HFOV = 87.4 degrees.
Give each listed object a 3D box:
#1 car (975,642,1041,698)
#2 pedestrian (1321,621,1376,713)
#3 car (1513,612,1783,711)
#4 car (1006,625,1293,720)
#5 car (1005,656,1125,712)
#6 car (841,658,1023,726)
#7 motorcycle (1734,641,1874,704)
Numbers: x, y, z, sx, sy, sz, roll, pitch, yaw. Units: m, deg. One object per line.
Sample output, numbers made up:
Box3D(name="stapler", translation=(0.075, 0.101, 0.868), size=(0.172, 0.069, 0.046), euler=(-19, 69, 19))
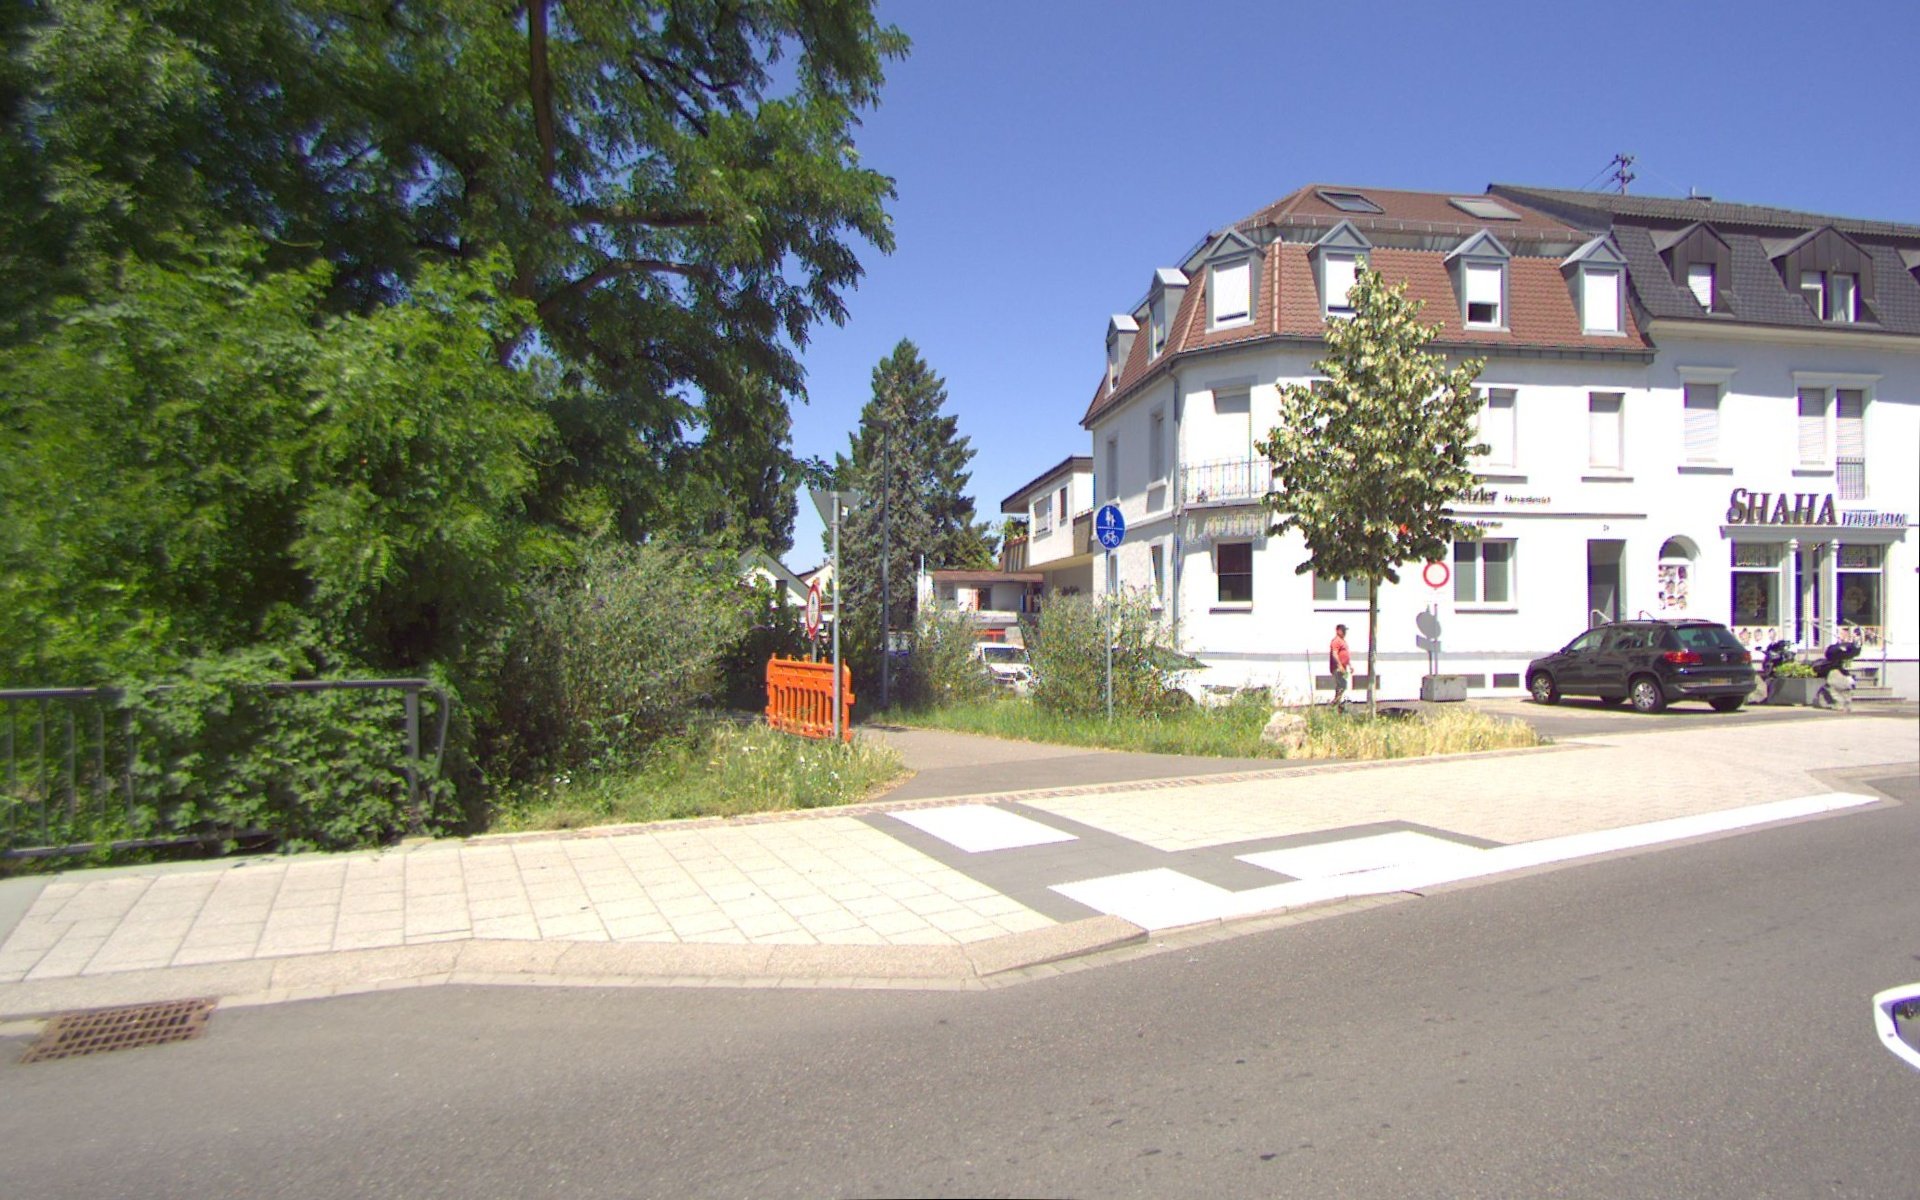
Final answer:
Box3D(name="car", translation=(1.787, 2.602, 38.326), size=(1.735, 1.917, 3.994), euler=(0, -1, -9))
Box3D(name="pedestrian", translation=(7.668, 1.315, 19.837), size=(0.732, 1.777, 0.729), euler=(2, -3, -37))
Box3D(name="car", translation=(13.004, 1.107, 19.357), size=(1.935, 1.684, 4.187), euler=(1, -1, -10))
Box3D(name="car", translation=(3.130, 1.142, 17.389), size=(1.985, 1.374, 4.651), euler=(1, -2, -42))
Box3D(name="car", translation=(3.649, 2.835, 34.548), size=(3.966, 1.670, 1.884), euler=(1, -1, -39))
Box3D(name="car", translation=(-0.690, 2.007, 22.327), size=(1.986, 1.362, 3.952), euler=(4, -6, -42))
Box3D(name="motorcycle", translation=(18.340, 1.554, 21.919), size=(0.818, 1.233, 2.400), euler=(1, -1, -8))
